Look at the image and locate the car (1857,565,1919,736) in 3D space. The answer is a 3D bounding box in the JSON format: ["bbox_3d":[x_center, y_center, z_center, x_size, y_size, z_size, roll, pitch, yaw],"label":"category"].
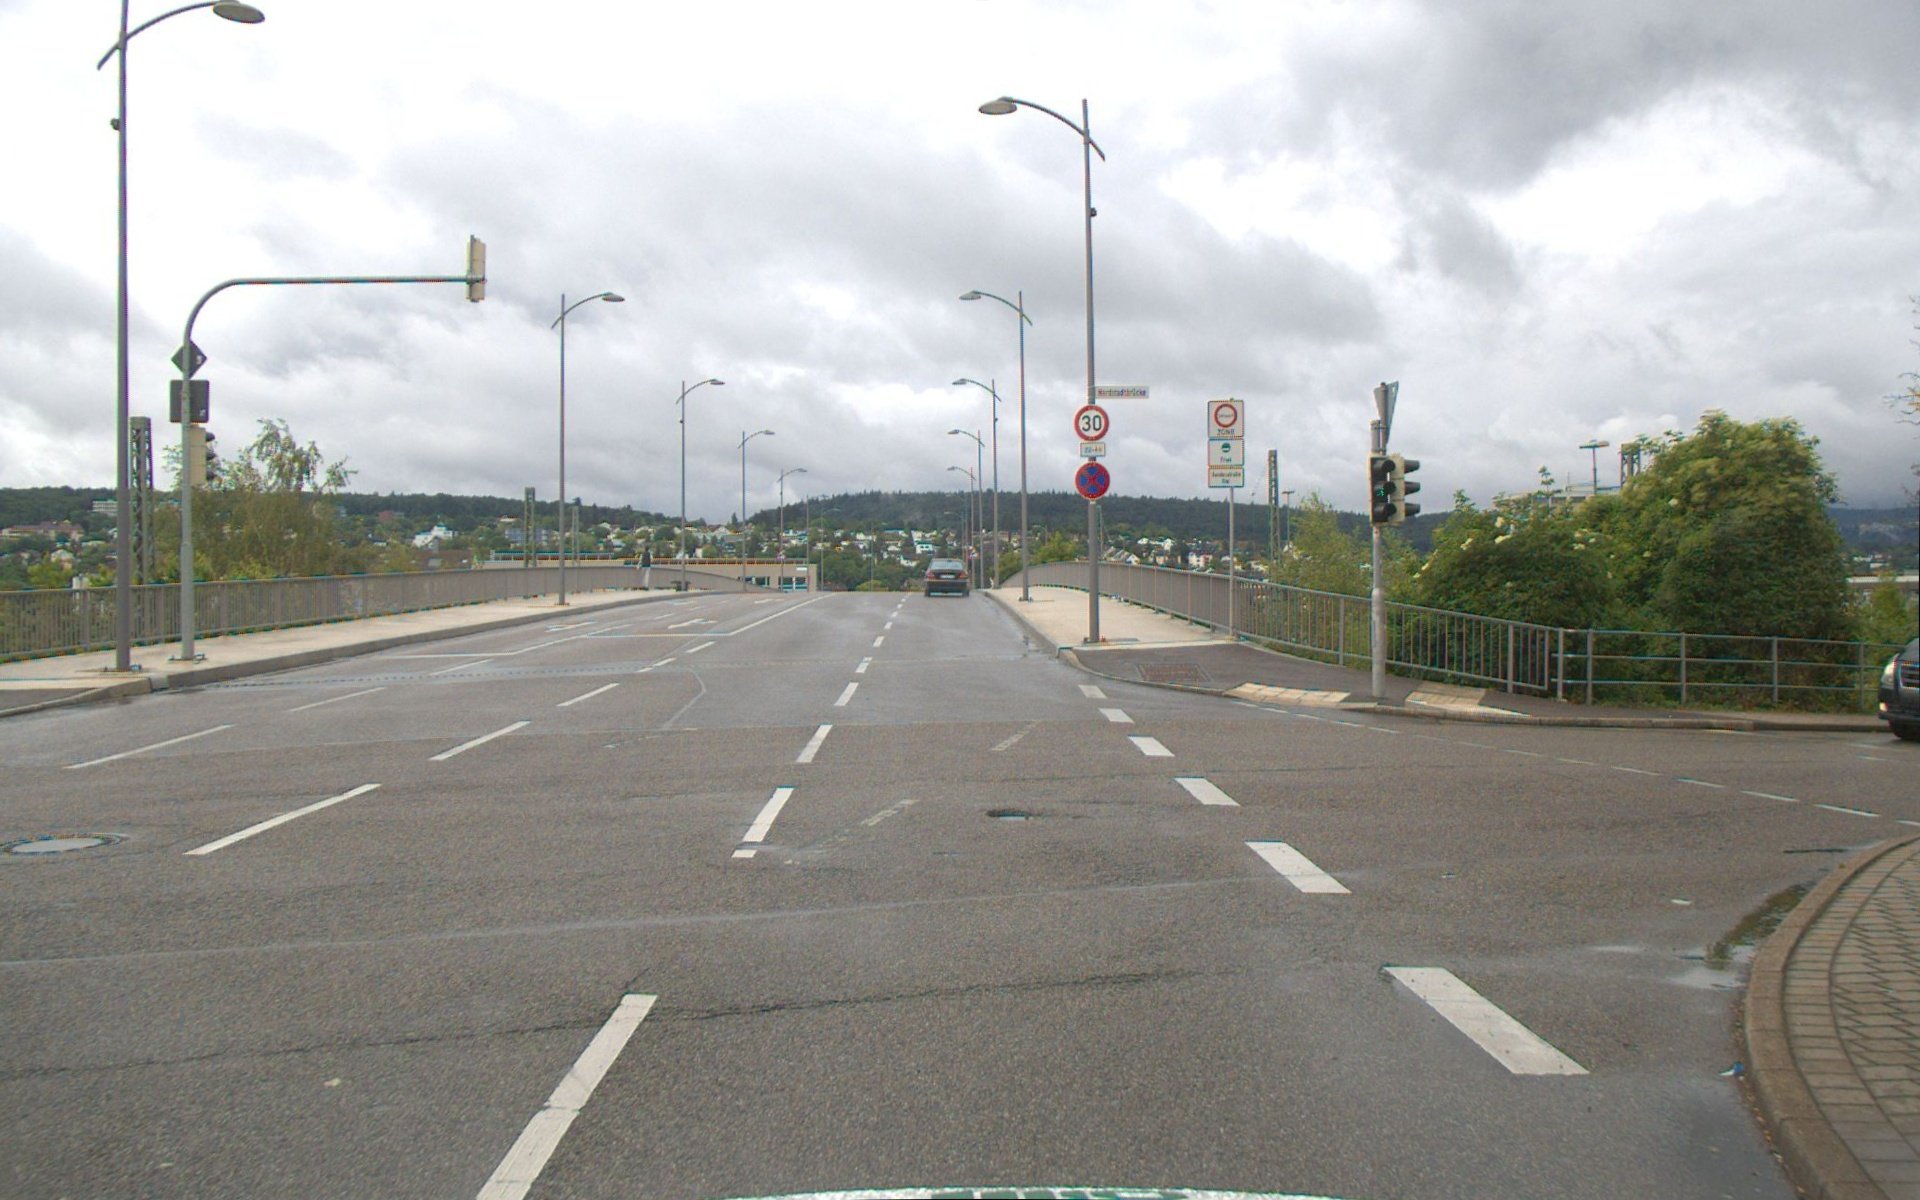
[{"bbox_3d":[13.743,0.686,20.710,4.681,2.049,1.985,2,-1,-25],"label":"car"}]

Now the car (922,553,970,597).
[{"bbox_3d":[-0.521,-0.913,62.034,1.718,1.505,3.999,-1,-1,-1],"label":"car"}]

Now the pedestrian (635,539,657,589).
[{"bbox_3d":[-13.439,-1.540,70.816,0.741,2.084,0.891,-1,-1,-1],"label":"pedestrian"}]
